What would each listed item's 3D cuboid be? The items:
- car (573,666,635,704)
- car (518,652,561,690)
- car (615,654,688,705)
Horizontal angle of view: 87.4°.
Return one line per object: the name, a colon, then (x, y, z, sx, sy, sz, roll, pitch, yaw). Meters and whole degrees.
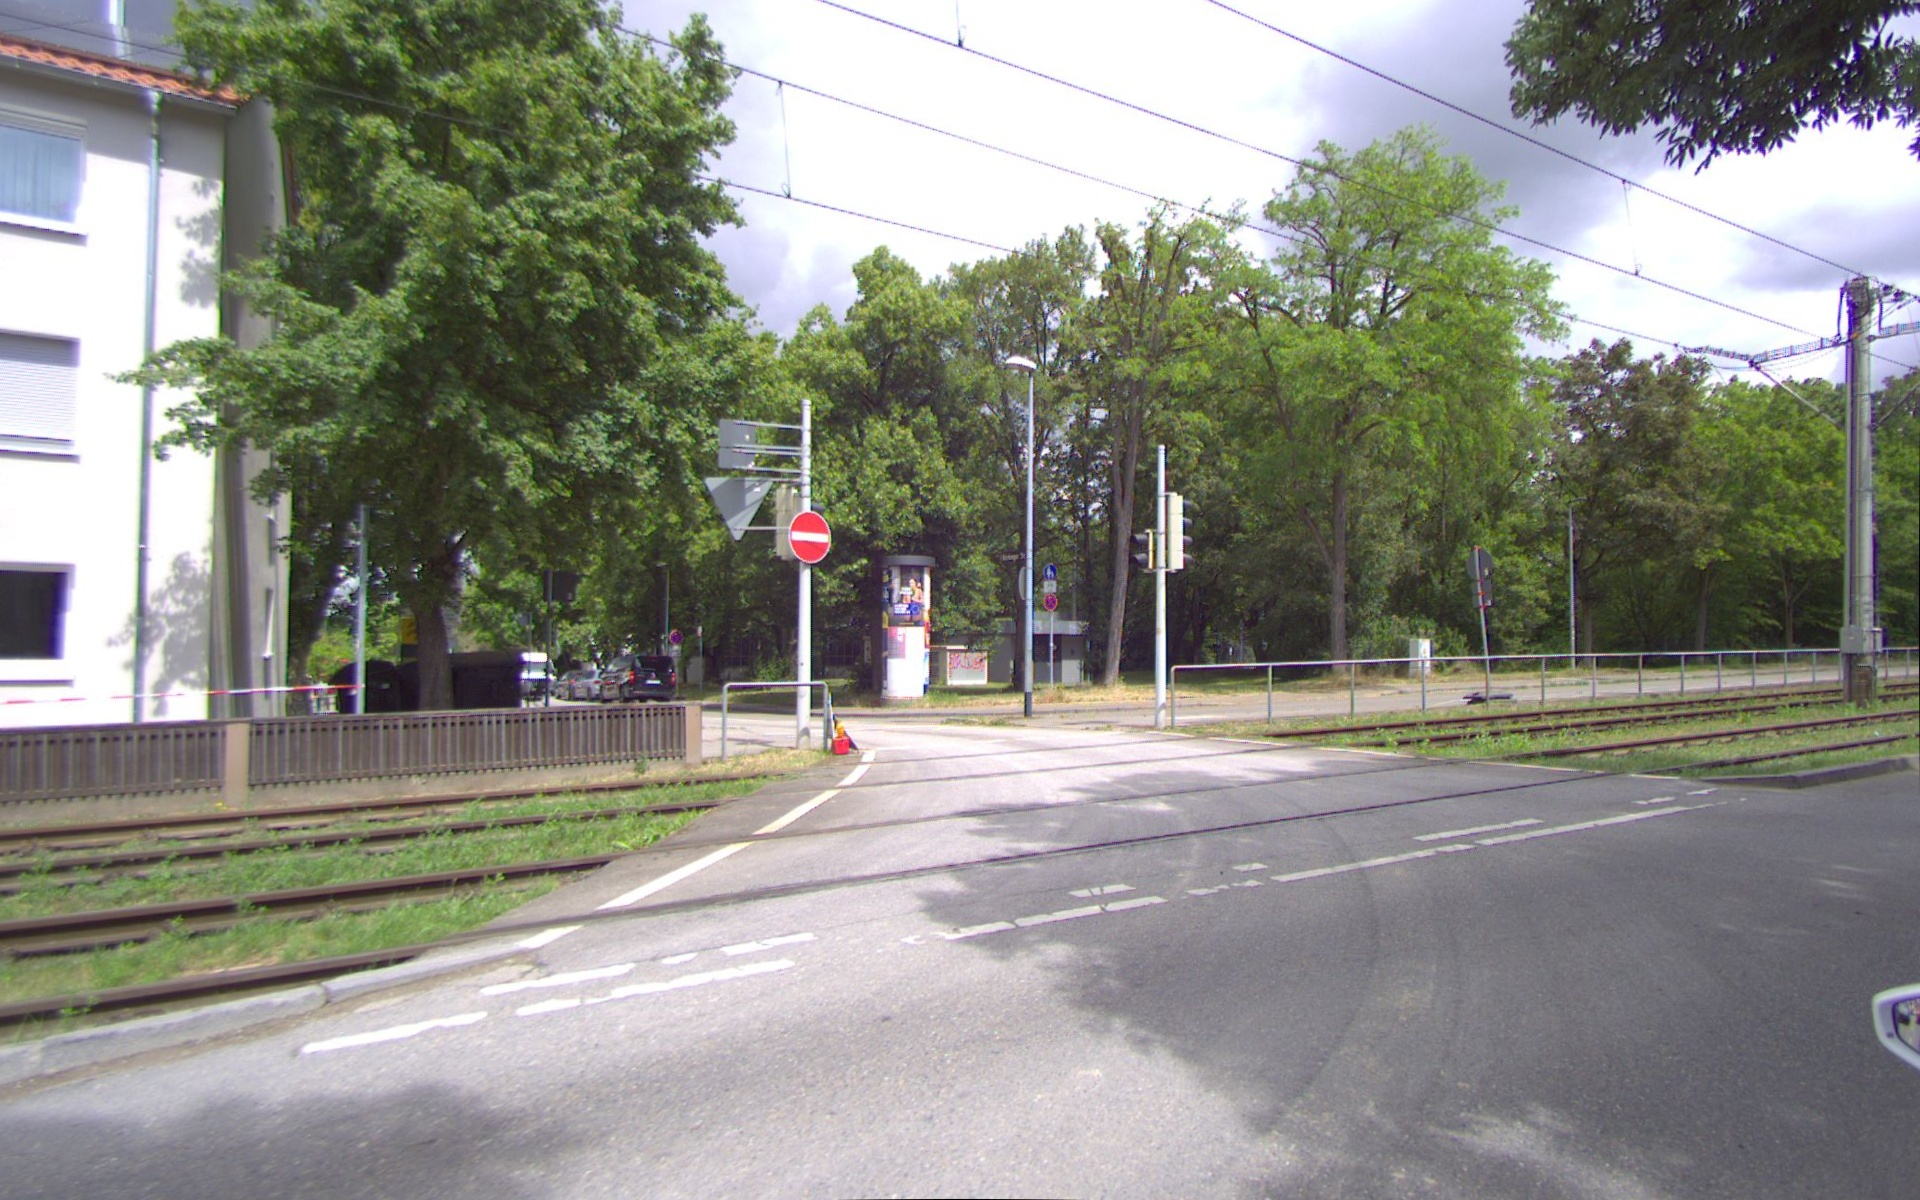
car: (-15.937, 3.755, 44.864, 1.833, 1.508, 3.967, 2, -2, -31)
car: (-25.025, 4.211, 59.719, 1.976, 2.129, 3.972, 2, -4, -29)
car: (-12.158, 3.092, 39.461, 1.976, 1.882, 3.972, 2, -4, -29)
